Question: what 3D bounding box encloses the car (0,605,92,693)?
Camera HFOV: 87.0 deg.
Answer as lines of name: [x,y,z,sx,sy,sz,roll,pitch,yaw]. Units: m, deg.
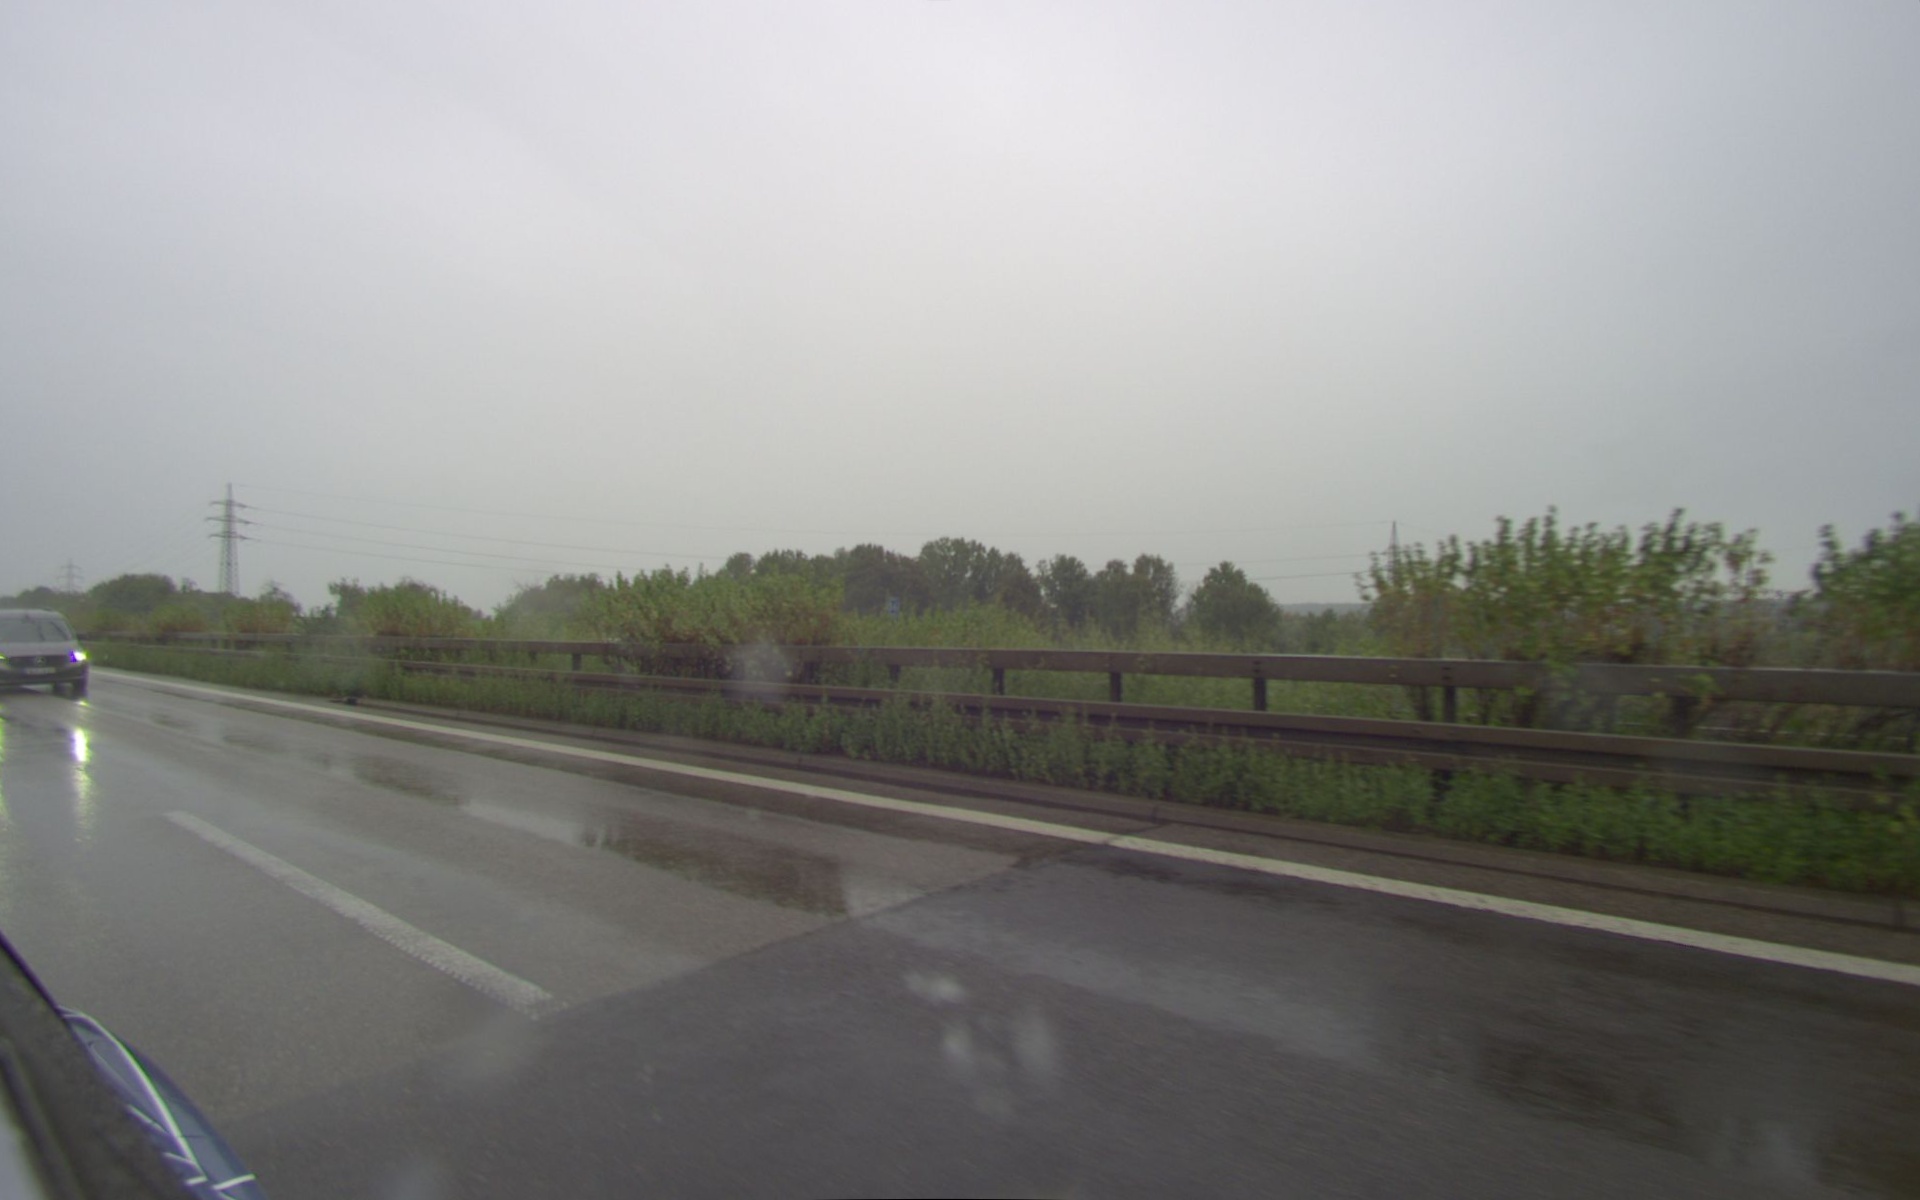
car: [-20.948,1.040,22.511,4.500,1.787,2.020,-1,0,43]
